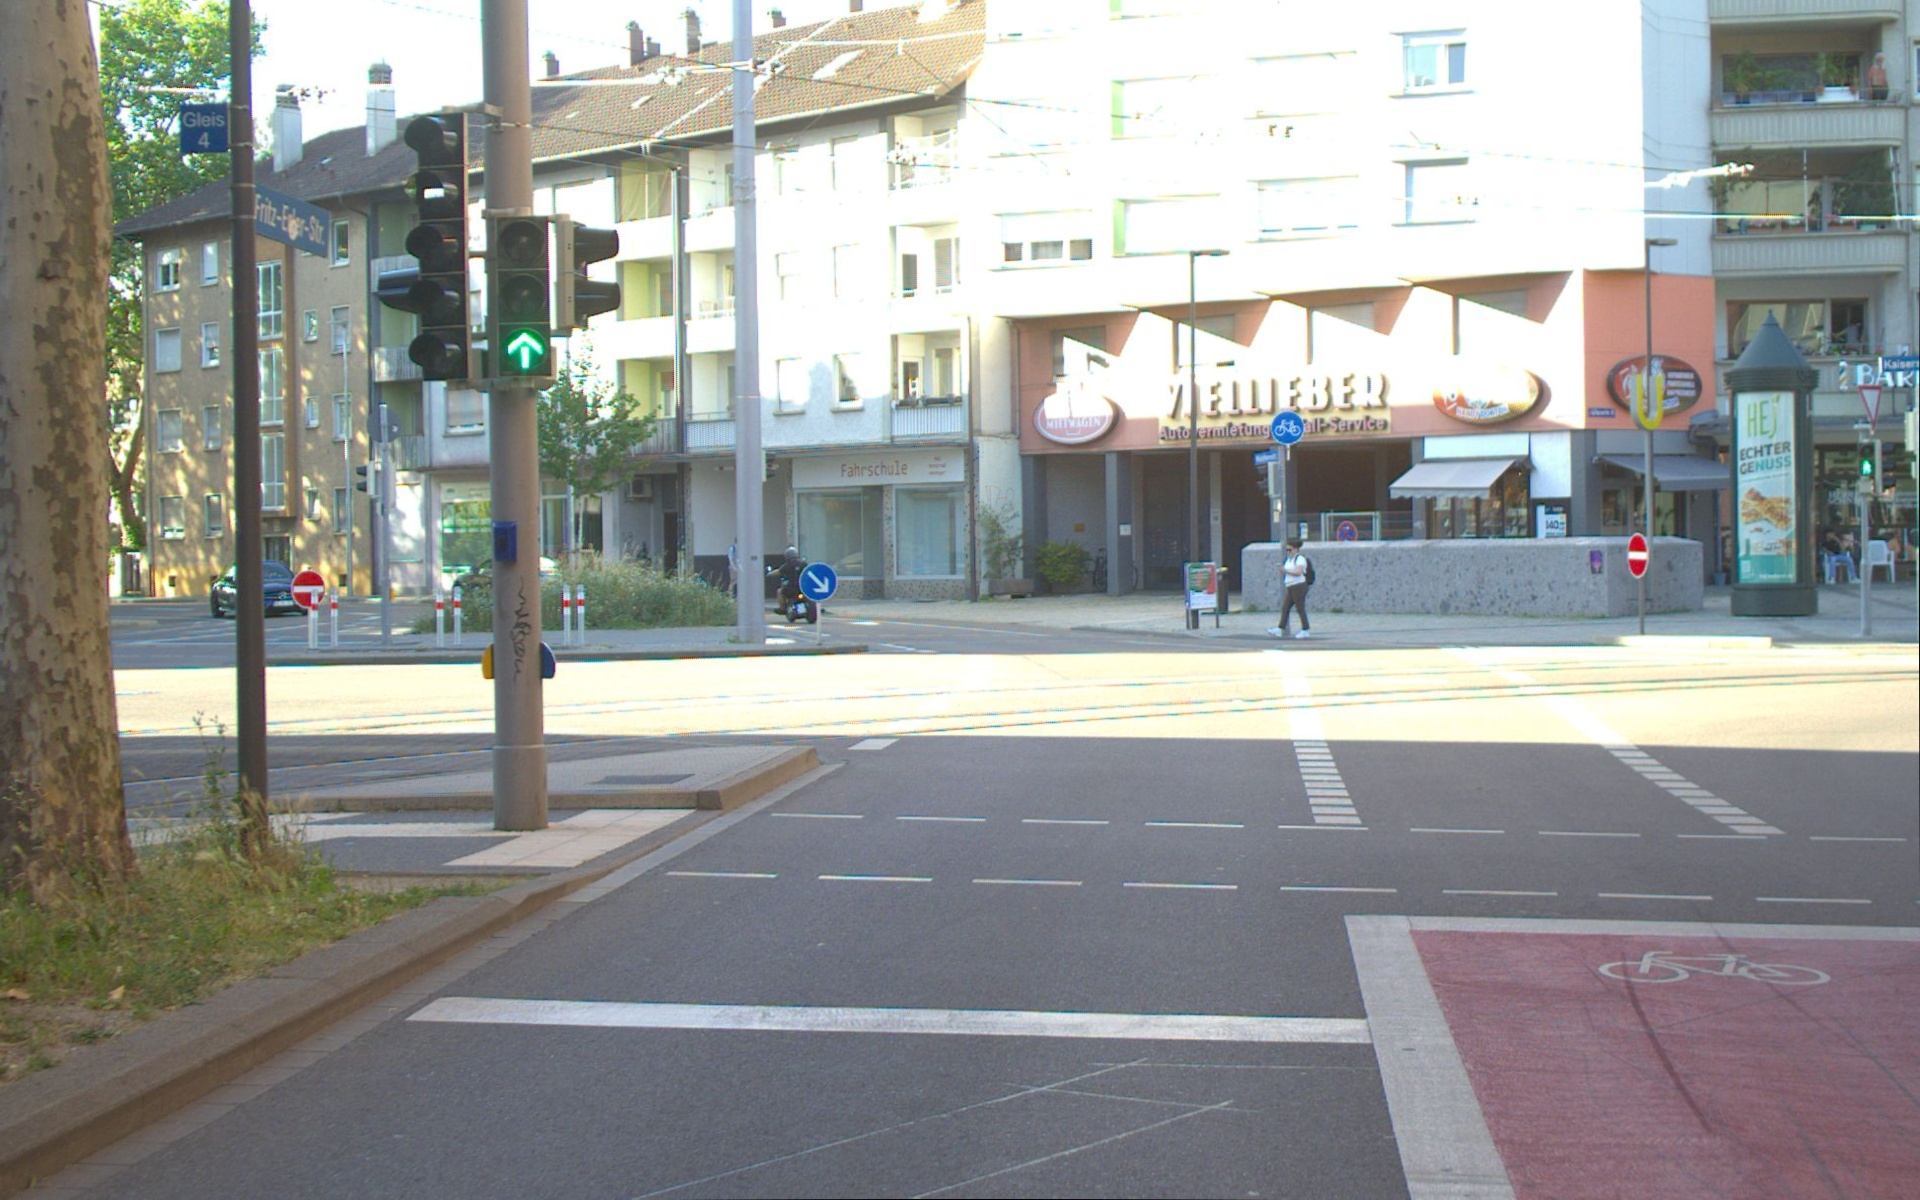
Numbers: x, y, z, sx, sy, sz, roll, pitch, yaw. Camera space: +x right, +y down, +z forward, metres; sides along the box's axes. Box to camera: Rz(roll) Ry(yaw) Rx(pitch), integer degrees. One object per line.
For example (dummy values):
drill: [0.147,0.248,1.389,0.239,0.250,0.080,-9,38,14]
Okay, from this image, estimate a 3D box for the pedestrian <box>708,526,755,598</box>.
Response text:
pedestrian: [-6.070,-1.006,91.351,0.731,1.848,0.948,-4,2,-40]

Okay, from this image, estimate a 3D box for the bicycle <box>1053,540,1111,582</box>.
bicycle: [3.066,-0.988,86.587,0.494,1.035,1.638,-1,1,-40]

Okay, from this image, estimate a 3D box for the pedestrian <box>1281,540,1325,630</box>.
pedestrian: [6.005,-0.267,60.161,0.539,1.578,0.557,-1,1,-38]

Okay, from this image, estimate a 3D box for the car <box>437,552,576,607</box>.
car: [-11.759,-0.553,89.035,1.923,1.384,3.999,-1,1,-35]

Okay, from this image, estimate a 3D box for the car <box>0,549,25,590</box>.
car: [-37.363,-1.160,130.588,2.034,1.499,4.092,-1,1,-40]

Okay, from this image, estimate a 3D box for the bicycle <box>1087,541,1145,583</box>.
bicycle: [3.949,-0.959,86.932,0.494,1.035,1.638,-1,1,-40]

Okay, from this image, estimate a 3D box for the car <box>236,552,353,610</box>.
car: [-16.359,-0.469,84.697,1.833,1.381,4.596,-1,0,2]

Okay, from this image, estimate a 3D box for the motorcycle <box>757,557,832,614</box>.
motorcycle: [-3.393,-0.305,70.388,0.973,1.128,2.806,1,1,-14]

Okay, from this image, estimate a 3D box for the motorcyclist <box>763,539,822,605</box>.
motorcyclist: [-3.449,-0.577,70.557,0.970,1.342,1.138,1,1,-15]
